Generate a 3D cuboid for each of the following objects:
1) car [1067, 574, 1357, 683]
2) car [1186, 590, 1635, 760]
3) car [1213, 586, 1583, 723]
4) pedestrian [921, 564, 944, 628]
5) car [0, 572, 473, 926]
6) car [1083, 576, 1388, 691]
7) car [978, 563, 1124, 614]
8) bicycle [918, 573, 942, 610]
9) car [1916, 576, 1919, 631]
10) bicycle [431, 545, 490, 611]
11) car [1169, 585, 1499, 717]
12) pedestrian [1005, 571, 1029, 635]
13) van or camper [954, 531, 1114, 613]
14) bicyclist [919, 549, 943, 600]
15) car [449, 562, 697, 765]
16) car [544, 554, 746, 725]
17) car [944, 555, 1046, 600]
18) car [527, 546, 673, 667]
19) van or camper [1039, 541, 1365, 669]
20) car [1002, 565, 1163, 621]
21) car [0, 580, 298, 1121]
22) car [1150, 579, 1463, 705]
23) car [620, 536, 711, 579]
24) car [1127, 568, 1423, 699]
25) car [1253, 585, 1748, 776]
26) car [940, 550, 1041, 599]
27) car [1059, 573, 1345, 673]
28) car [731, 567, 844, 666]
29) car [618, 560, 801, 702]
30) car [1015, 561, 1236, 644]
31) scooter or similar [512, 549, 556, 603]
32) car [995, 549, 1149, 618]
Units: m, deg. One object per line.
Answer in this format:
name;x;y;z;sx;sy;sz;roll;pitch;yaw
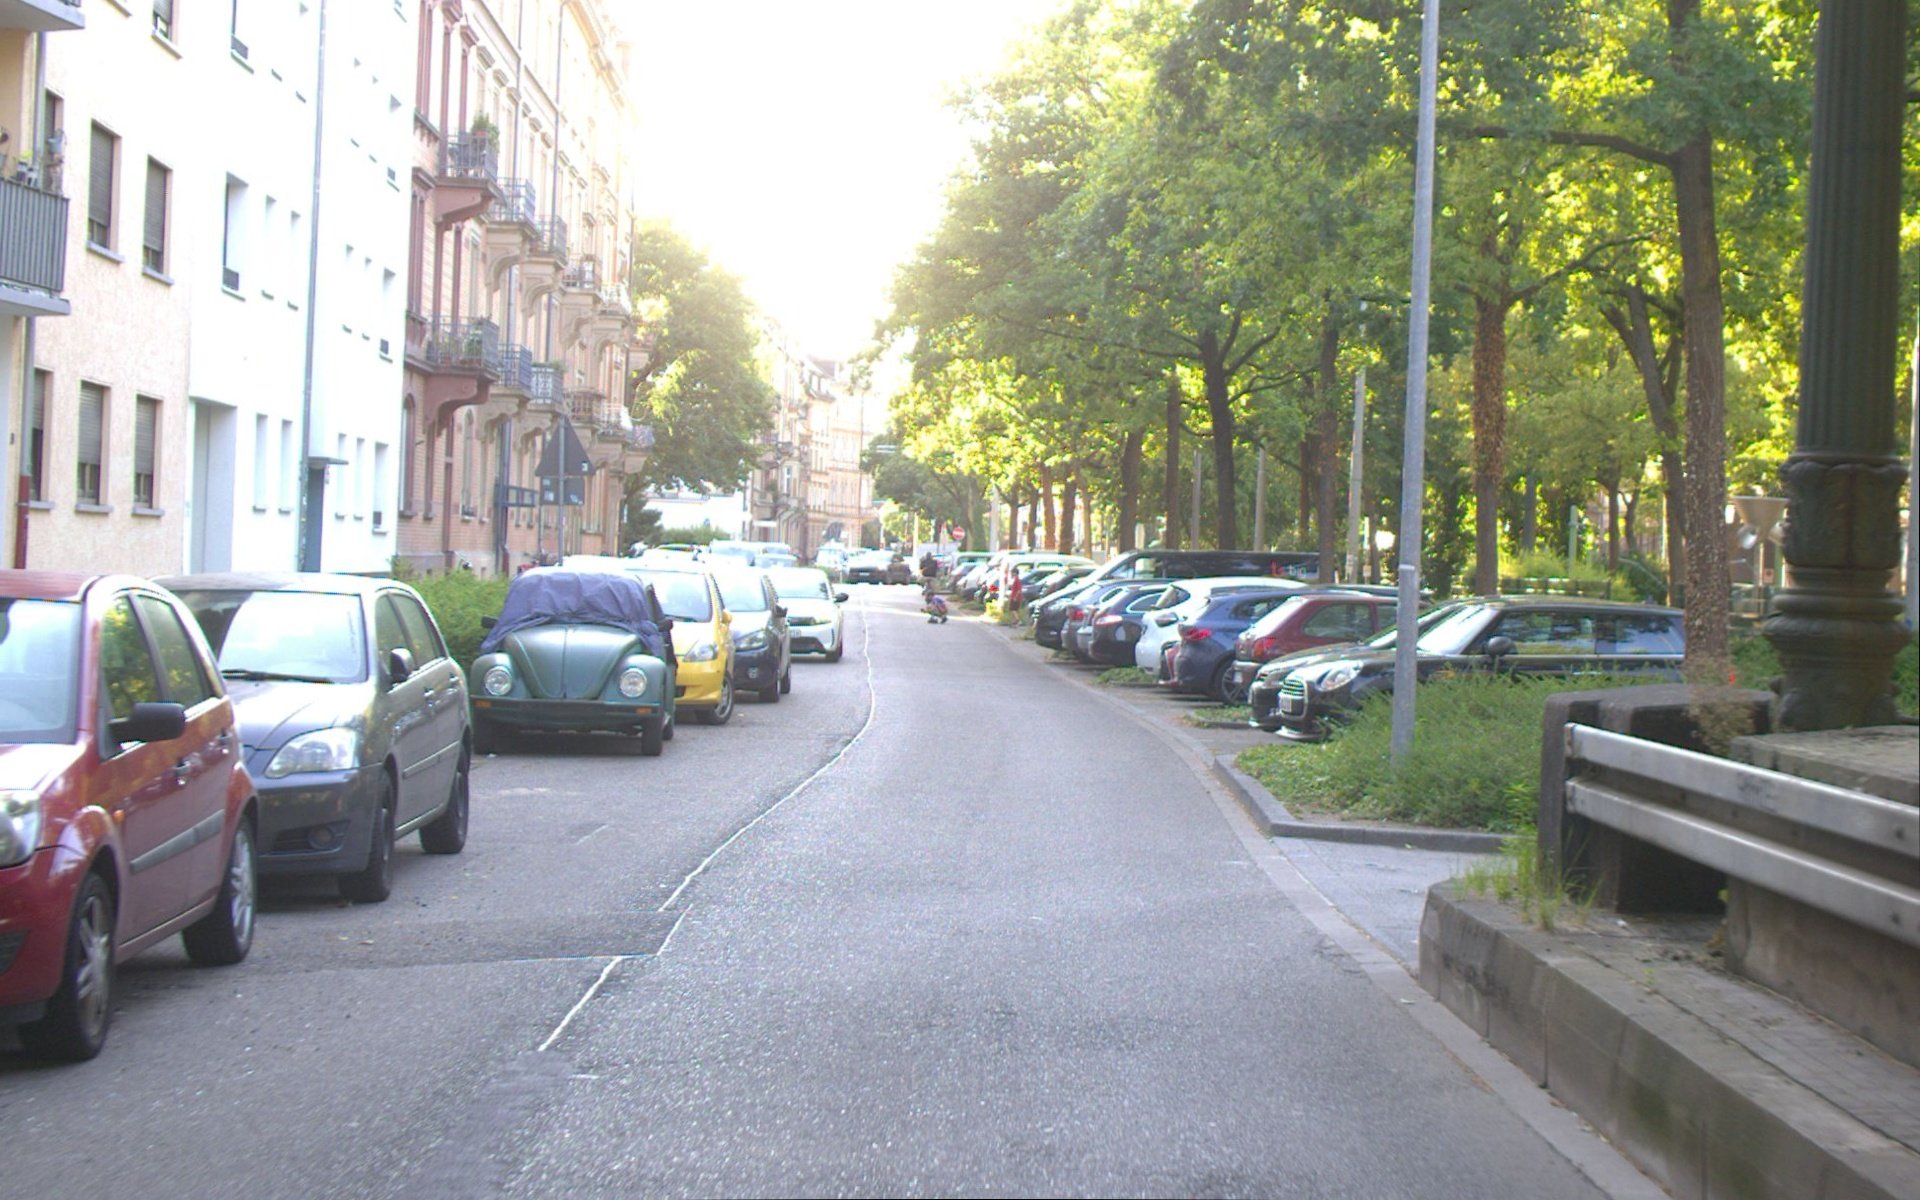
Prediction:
car;3.912;0.446;53.873;4.399;1.572;1.664;1;-1;1
car;4.020;0.675;31.108;3.782;1.397;1.827;1;-1;0
car;4.859;0.606;38.430;3.781;1.397;1.767;2;-1;-5
pedestrian;-0.693;-0.094;86.842;0.380;1.579;0.518;3;3;18
car;-3.394;0.605;16.346;1.636;1.461;4.000;-1;0;-1
car;4.064;0.497;50.988;4.400;1.572;1.664;1;-1;4
car;2.683;-0.339;100.904;4.220;1.448;1.649;1;1;3
bicycle;-0.957;-0.256;109.204;0.641;1.096;1.944;3;-1;-3
car;31.364;0.202;104.472;3.987;1.678;2.000;3;-1;-1
bicycle;-9.730;-0.439;67.038;0.737;1.202;2.514;3;1;-1
car;4.399;0.602;40.821;3.782;1.442;1.664;1;-1;4
pedestrian;1.381;0.079;83.110;0.380;1.511;0.518;3;3;18
van or camper;2.420;-0.922;113.431;4.981;2.369;2.185;3;-1;-3
bicyclist;-0.925;-0.799;109.181;0.627;1.568;0.802;3;-1;-3
car;-3.118;0.472;28.296;1.566;1.512;3.782;2;0;0
car;-3.018;0.343;33.516;1.702;1.520;3.774;2;0;-2
car;1.423;-0.911;141.030;3.986;1.558;1.859;3;-1;-4
car;-5.105;0.065;49.140;1.668;1.503;4.000;5;1;-2
van or camper;4.095;0.066;58.900;5.414;2.020;2.029;1;1;1
car;3.233;-0.190;90.998;4.080;1.437;1.762;1;1;-4
car;-3.402;0.662;11.346;1.689;1.436;4.000;2;0;-1
car;4.359;0.534;43.632;3.782;1.468;1.664;1;-1;1
car;-13.678;-1.973;159.794;3.987;1.700;2.000;3;-1;0
car;4.204;0.450;46.264;3.782;1.640;1.664;1;-1;-1
car;4.483;0.669;28.797;3.781;1.467;1.635;2;-1;-5
car;1.263;-1.062;143.698;3.986;1.788;1.859;3;-1;-4
car;3.907;0.379;55.940;4.398;1.496;1.838;2;-1;-4
car;-2.730;0.237;55.103;1.668;1.426;4.001;0;2;-1
car;-2.743;0.304;38.392;1.739;1.474;4.000;1;1;0
car;3.413;0.053;71.293;4.399;1.585;1.838;1;0;-2
scooter or similar;-10.529;-0.580;85.047;0.783;1.218;2.704;3;-1;-2
car;3.123;-0.468;96.460;4.220;1.857;1.762;1;1;0
